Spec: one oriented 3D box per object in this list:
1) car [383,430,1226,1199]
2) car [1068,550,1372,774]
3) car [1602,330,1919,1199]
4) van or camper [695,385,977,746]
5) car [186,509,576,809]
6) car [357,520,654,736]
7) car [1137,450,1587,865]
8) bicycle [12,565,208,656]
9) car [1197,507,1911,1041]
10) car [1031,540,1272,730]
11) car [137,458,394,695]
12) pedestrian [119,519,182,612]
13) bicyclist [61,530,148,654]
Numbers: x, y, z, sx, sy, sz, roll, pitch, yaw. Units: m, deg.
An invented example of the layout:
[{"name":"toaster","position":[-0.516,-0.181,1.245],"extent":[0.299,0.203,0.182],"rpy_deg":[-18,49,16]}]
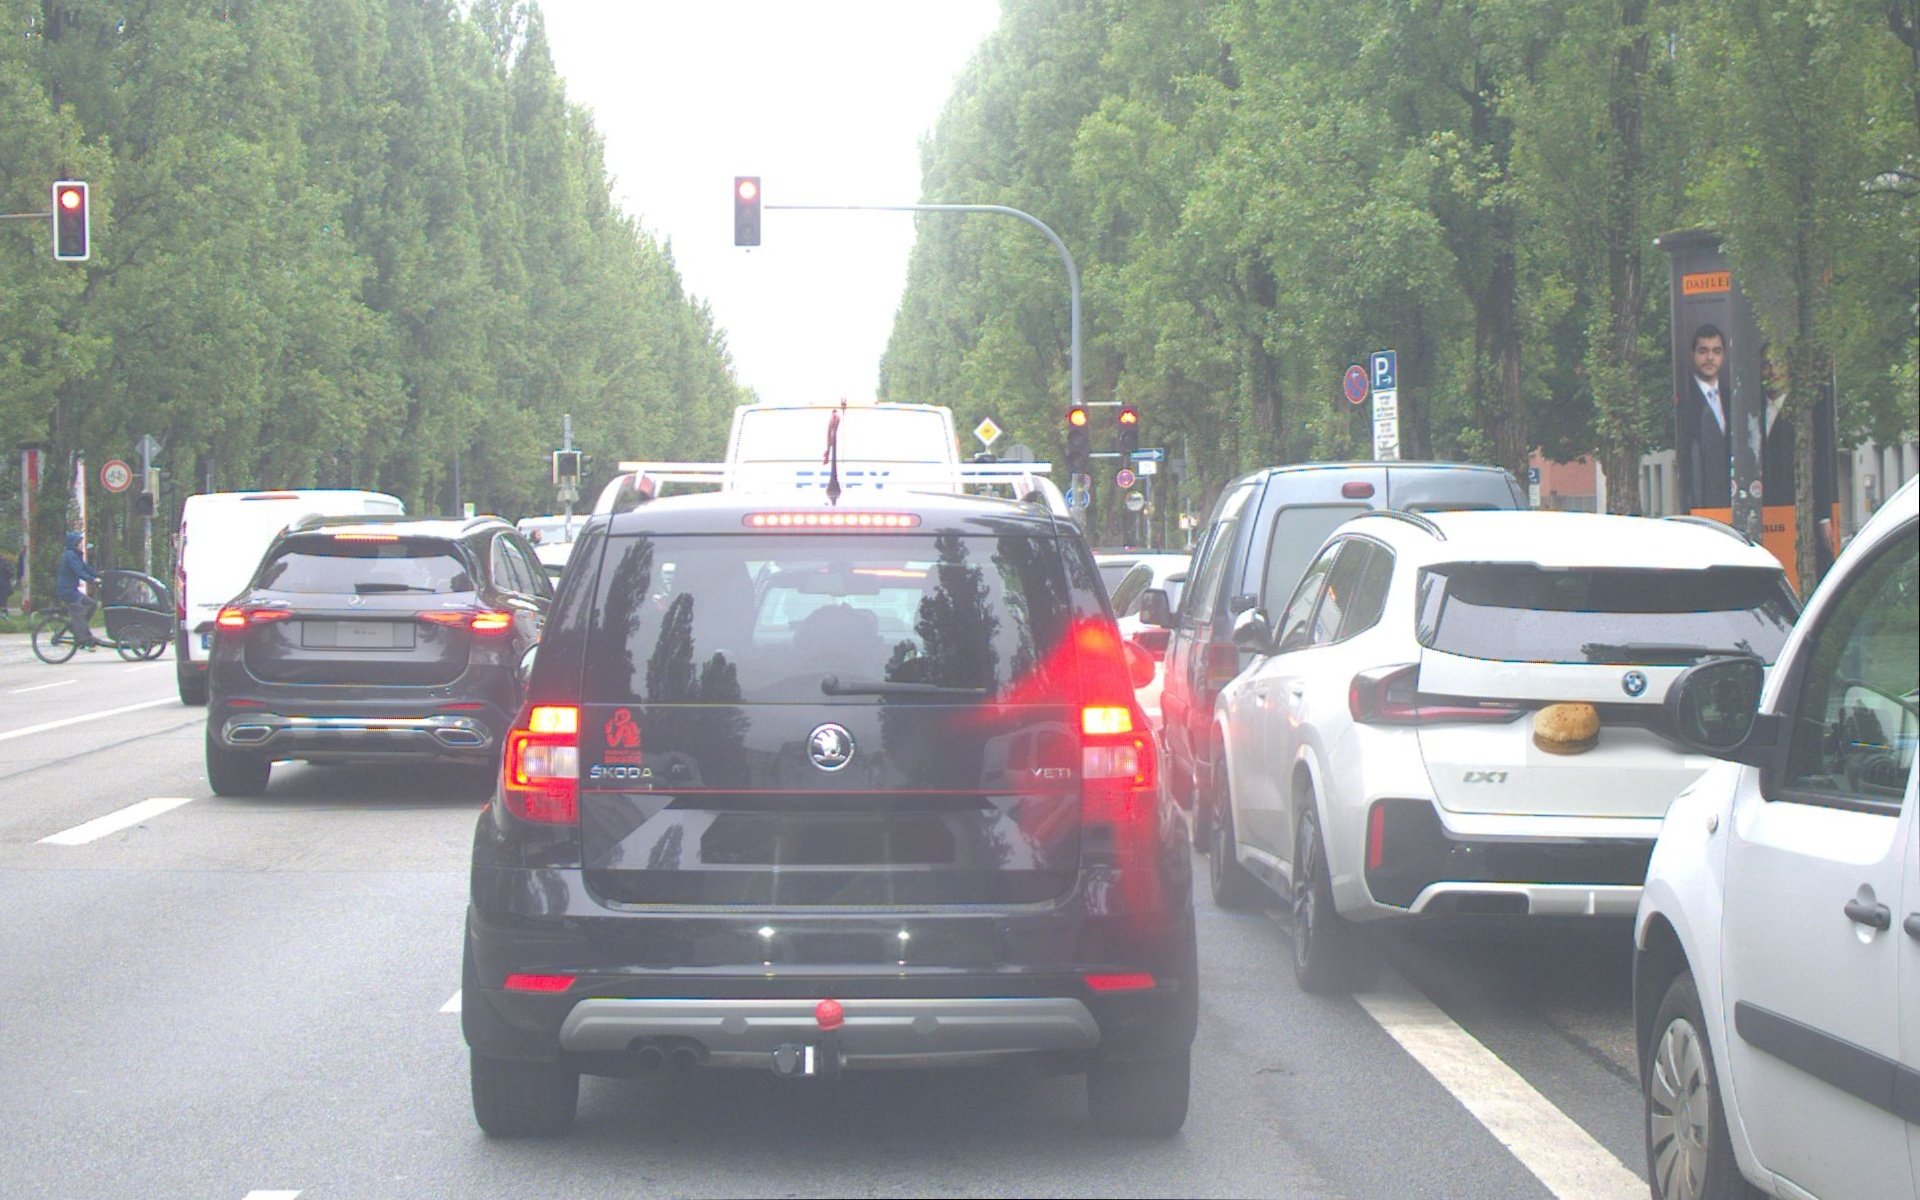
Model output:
[{"name":"car","position":[-0.397,0.483,9.717],"extent":[1.855,1.764,4.000],"rpy_deg":[1,1,-1]},{"name":"car","position":[1.732,0.373,23.910],"extent":[1.735,1.382,3.563],"rpy_deg":[-1,1,-2]},{"name":"car","position":[2.412,0.507,5.429],"extent":[1.851,1.875,4.169],"rpy_deg":[-1,1,-2]},{"name":"van or camper","position":[-0.995,-0.293,26.507],"extent":[1.975,2.539,4.025],"rpy_deg":[-1,1,-3]},{"name":"car","position":[-3.410,0.278,20.935],"extent":[1.781,1.614,4.025],"rpy_deg":[1,1,-2]},{"name":"car","position":[-3.552,0.160,27.545],"extent":[1.993,1.555,4.001],"rpy_deg":[-1,2,-2]},{"name":"car","position":[1.956,0.217,17.834],"extent":[1.735,1.888,4.025],"rpy_deg":[-1,1,-2]},{"name":"bicycle","position":[-11.953,0.144,48.359],"extent":[2.536,1.233,0.812],"rpy_deg":[-1,1,9]},{"name":"car","position":[1.940,0.473,12.463],"extent":[1.741,1.587,4.212],"rpy_deg":[-1,1,-2]},{"name":"car","position":[1.565,0.247,29.209],"extent":[1.735,1.470,3.563],"rpy_deg":[-1,1,-2]},{"name":"car","position":[-6.536,-0.236,32.735],"extent":[1.781,2.104,4.025],"rpy_deg":[1,1,-3]},{"name":"pedestrian","position":[-15.377,-0.660,65.290],"extent":[0.880,1.758,0.878],"rpy_deg":[-1,1,8]},{"name":"bicyclist","position":[-12.029,-0.118,48.364],"extent":[0.906,1.716,0.824],"rpy_deg":[-1,1,8]}]
